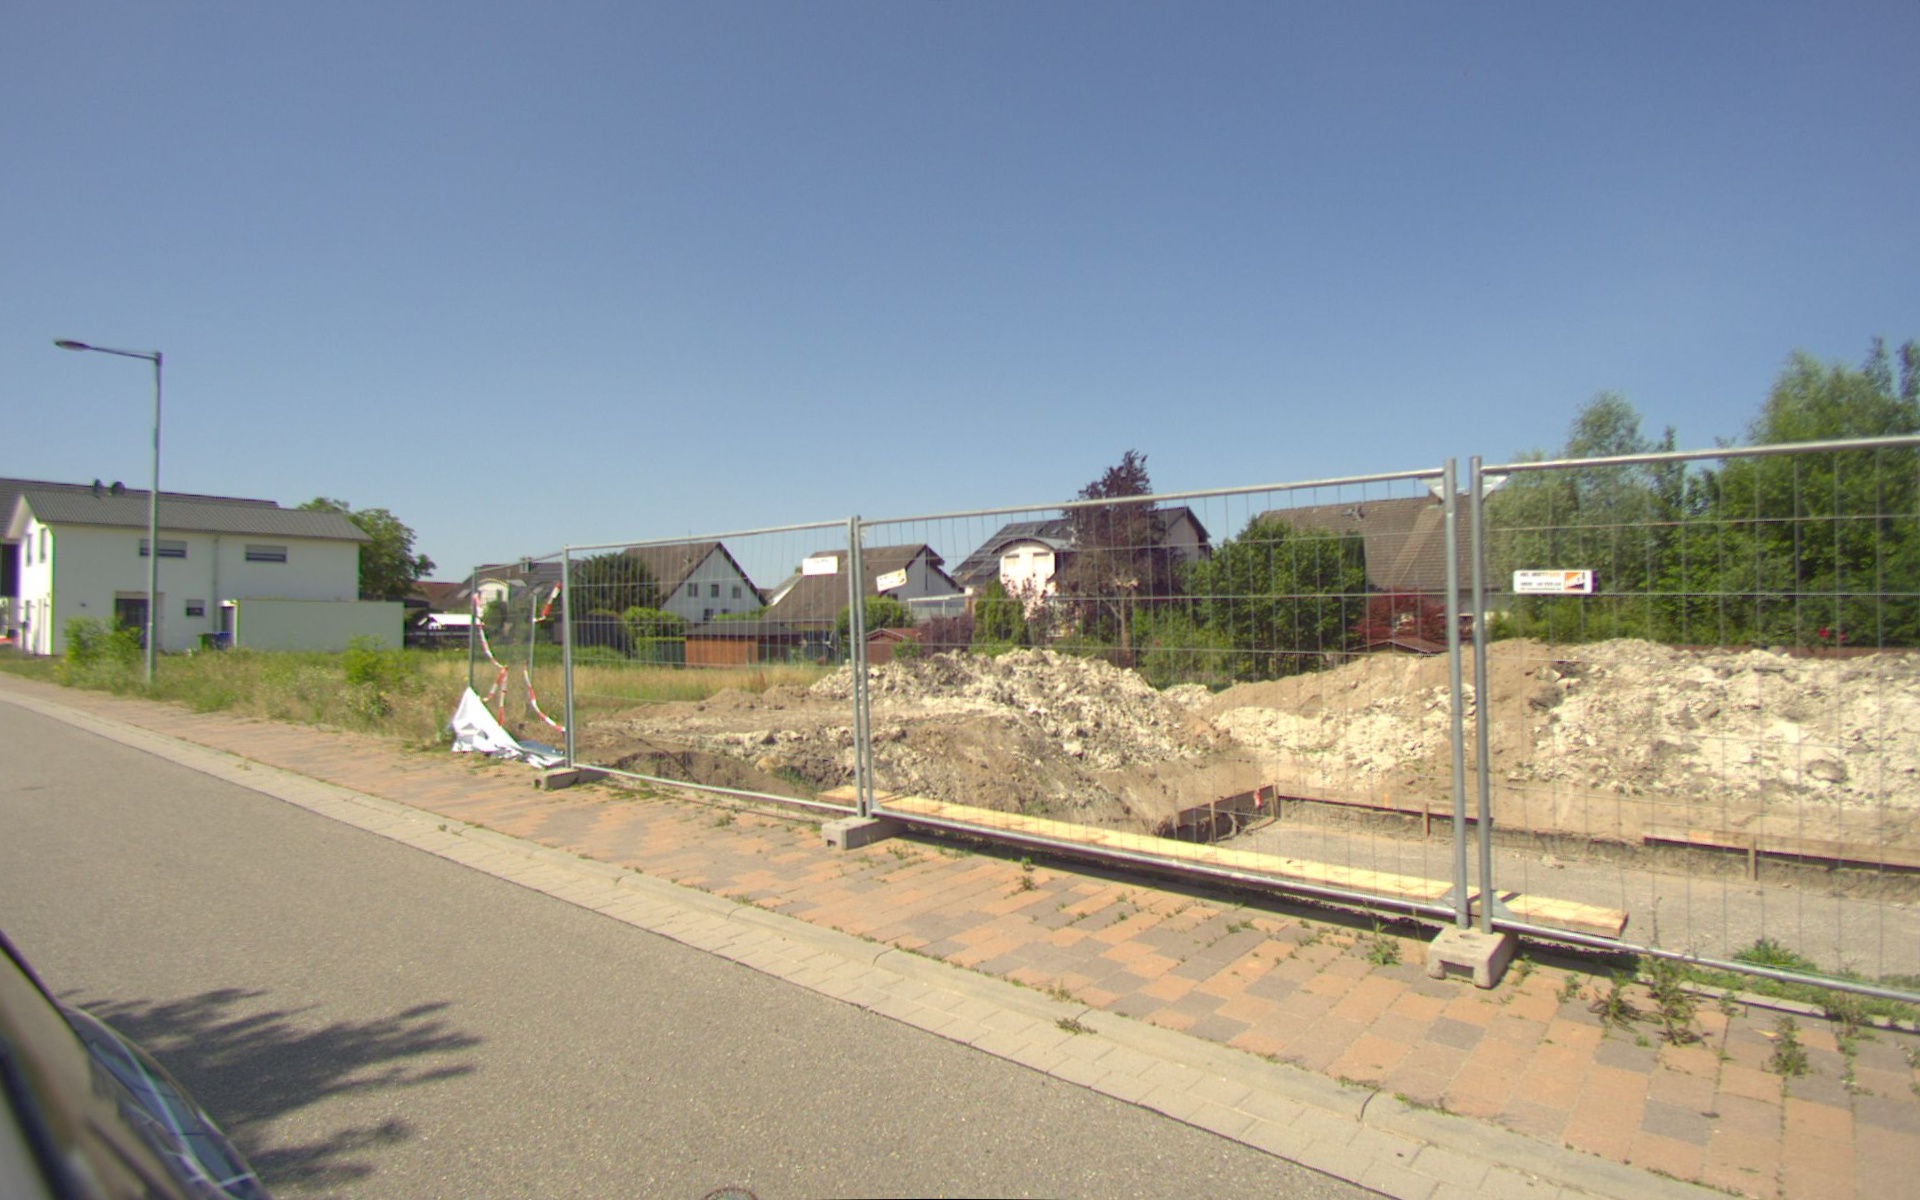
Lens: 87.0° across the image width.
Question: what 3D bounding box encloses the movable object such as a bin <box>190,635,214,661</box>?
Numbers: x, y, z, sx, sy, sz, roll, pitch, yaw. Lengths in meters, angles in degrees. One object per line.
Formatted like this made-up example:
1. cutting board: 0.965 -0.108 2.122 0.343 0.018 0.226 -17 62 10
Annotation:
1. movable object such as a bin: -32.968 2.097 44.006 0.784 1.107 0.653 -2 -3 40

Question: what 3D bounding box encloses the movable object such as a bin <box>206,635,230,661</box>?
1. movable object such as a bin: -32.667 2.111 44.564 0.807 1.107 0.663 -2 -3 41

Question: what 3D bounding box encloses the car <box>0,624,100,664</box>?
1. car: -45.334 2.119 49.455 1.935 1.889 4.691 -1 -3 37
